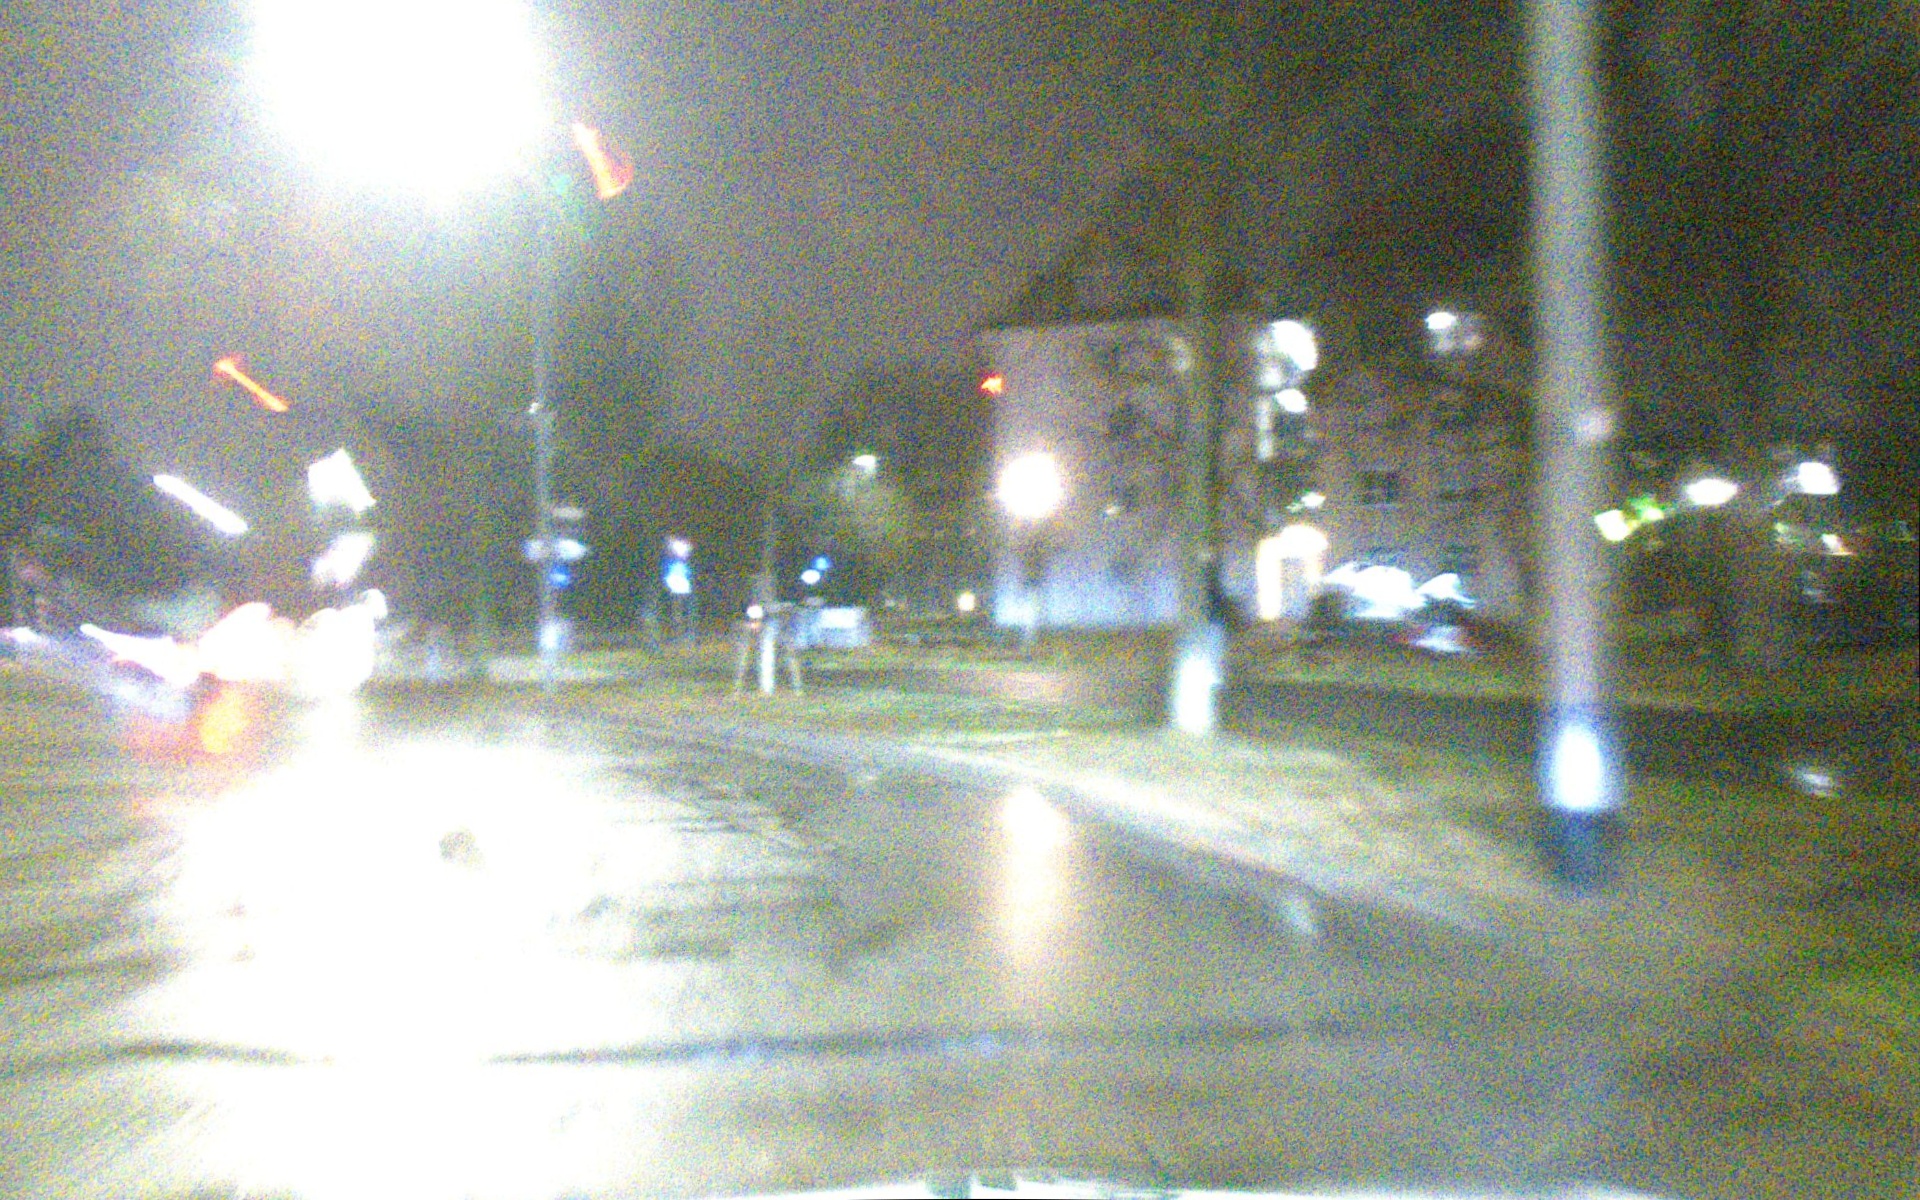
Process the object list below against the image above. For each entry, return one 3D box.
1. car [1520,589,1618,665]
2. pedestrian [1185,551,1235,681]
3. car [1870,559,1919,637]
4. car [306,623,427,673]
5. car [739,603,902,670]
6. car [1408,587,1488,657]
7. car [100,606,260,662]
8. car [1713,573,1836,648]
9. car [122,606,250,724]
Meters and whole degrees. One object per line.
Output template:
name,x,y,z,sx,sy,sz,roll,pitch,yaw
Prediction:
car,13.470,0.650,36.754,1.680,1.523,3.913,-1,-3,15
pedestrian,3.752,0.236,24.864,0.639,1.935,0.729,0,0,-1
car,20.624,-0.043,34.828,1.680,1.563,3.914,0,0,15
car,-22.702,1.799,63.428,1.834,1.789,4.392,0,0,25
car,-3.703,0.938,43.966,3.907,1.713,1.917,0,0,25
car,11.171,0.474,38.010,1.680,1.523,3.914,0,0,15
car,-25.937,1.092,55.185,1.955,1.766,4.614,0,0,27
car,17.550,0.213,35.790,1.680,1.523,3.914,0,0,15
car,-14.777,1.160,31.785,1.966,2.049,4.527,0,0,-22
